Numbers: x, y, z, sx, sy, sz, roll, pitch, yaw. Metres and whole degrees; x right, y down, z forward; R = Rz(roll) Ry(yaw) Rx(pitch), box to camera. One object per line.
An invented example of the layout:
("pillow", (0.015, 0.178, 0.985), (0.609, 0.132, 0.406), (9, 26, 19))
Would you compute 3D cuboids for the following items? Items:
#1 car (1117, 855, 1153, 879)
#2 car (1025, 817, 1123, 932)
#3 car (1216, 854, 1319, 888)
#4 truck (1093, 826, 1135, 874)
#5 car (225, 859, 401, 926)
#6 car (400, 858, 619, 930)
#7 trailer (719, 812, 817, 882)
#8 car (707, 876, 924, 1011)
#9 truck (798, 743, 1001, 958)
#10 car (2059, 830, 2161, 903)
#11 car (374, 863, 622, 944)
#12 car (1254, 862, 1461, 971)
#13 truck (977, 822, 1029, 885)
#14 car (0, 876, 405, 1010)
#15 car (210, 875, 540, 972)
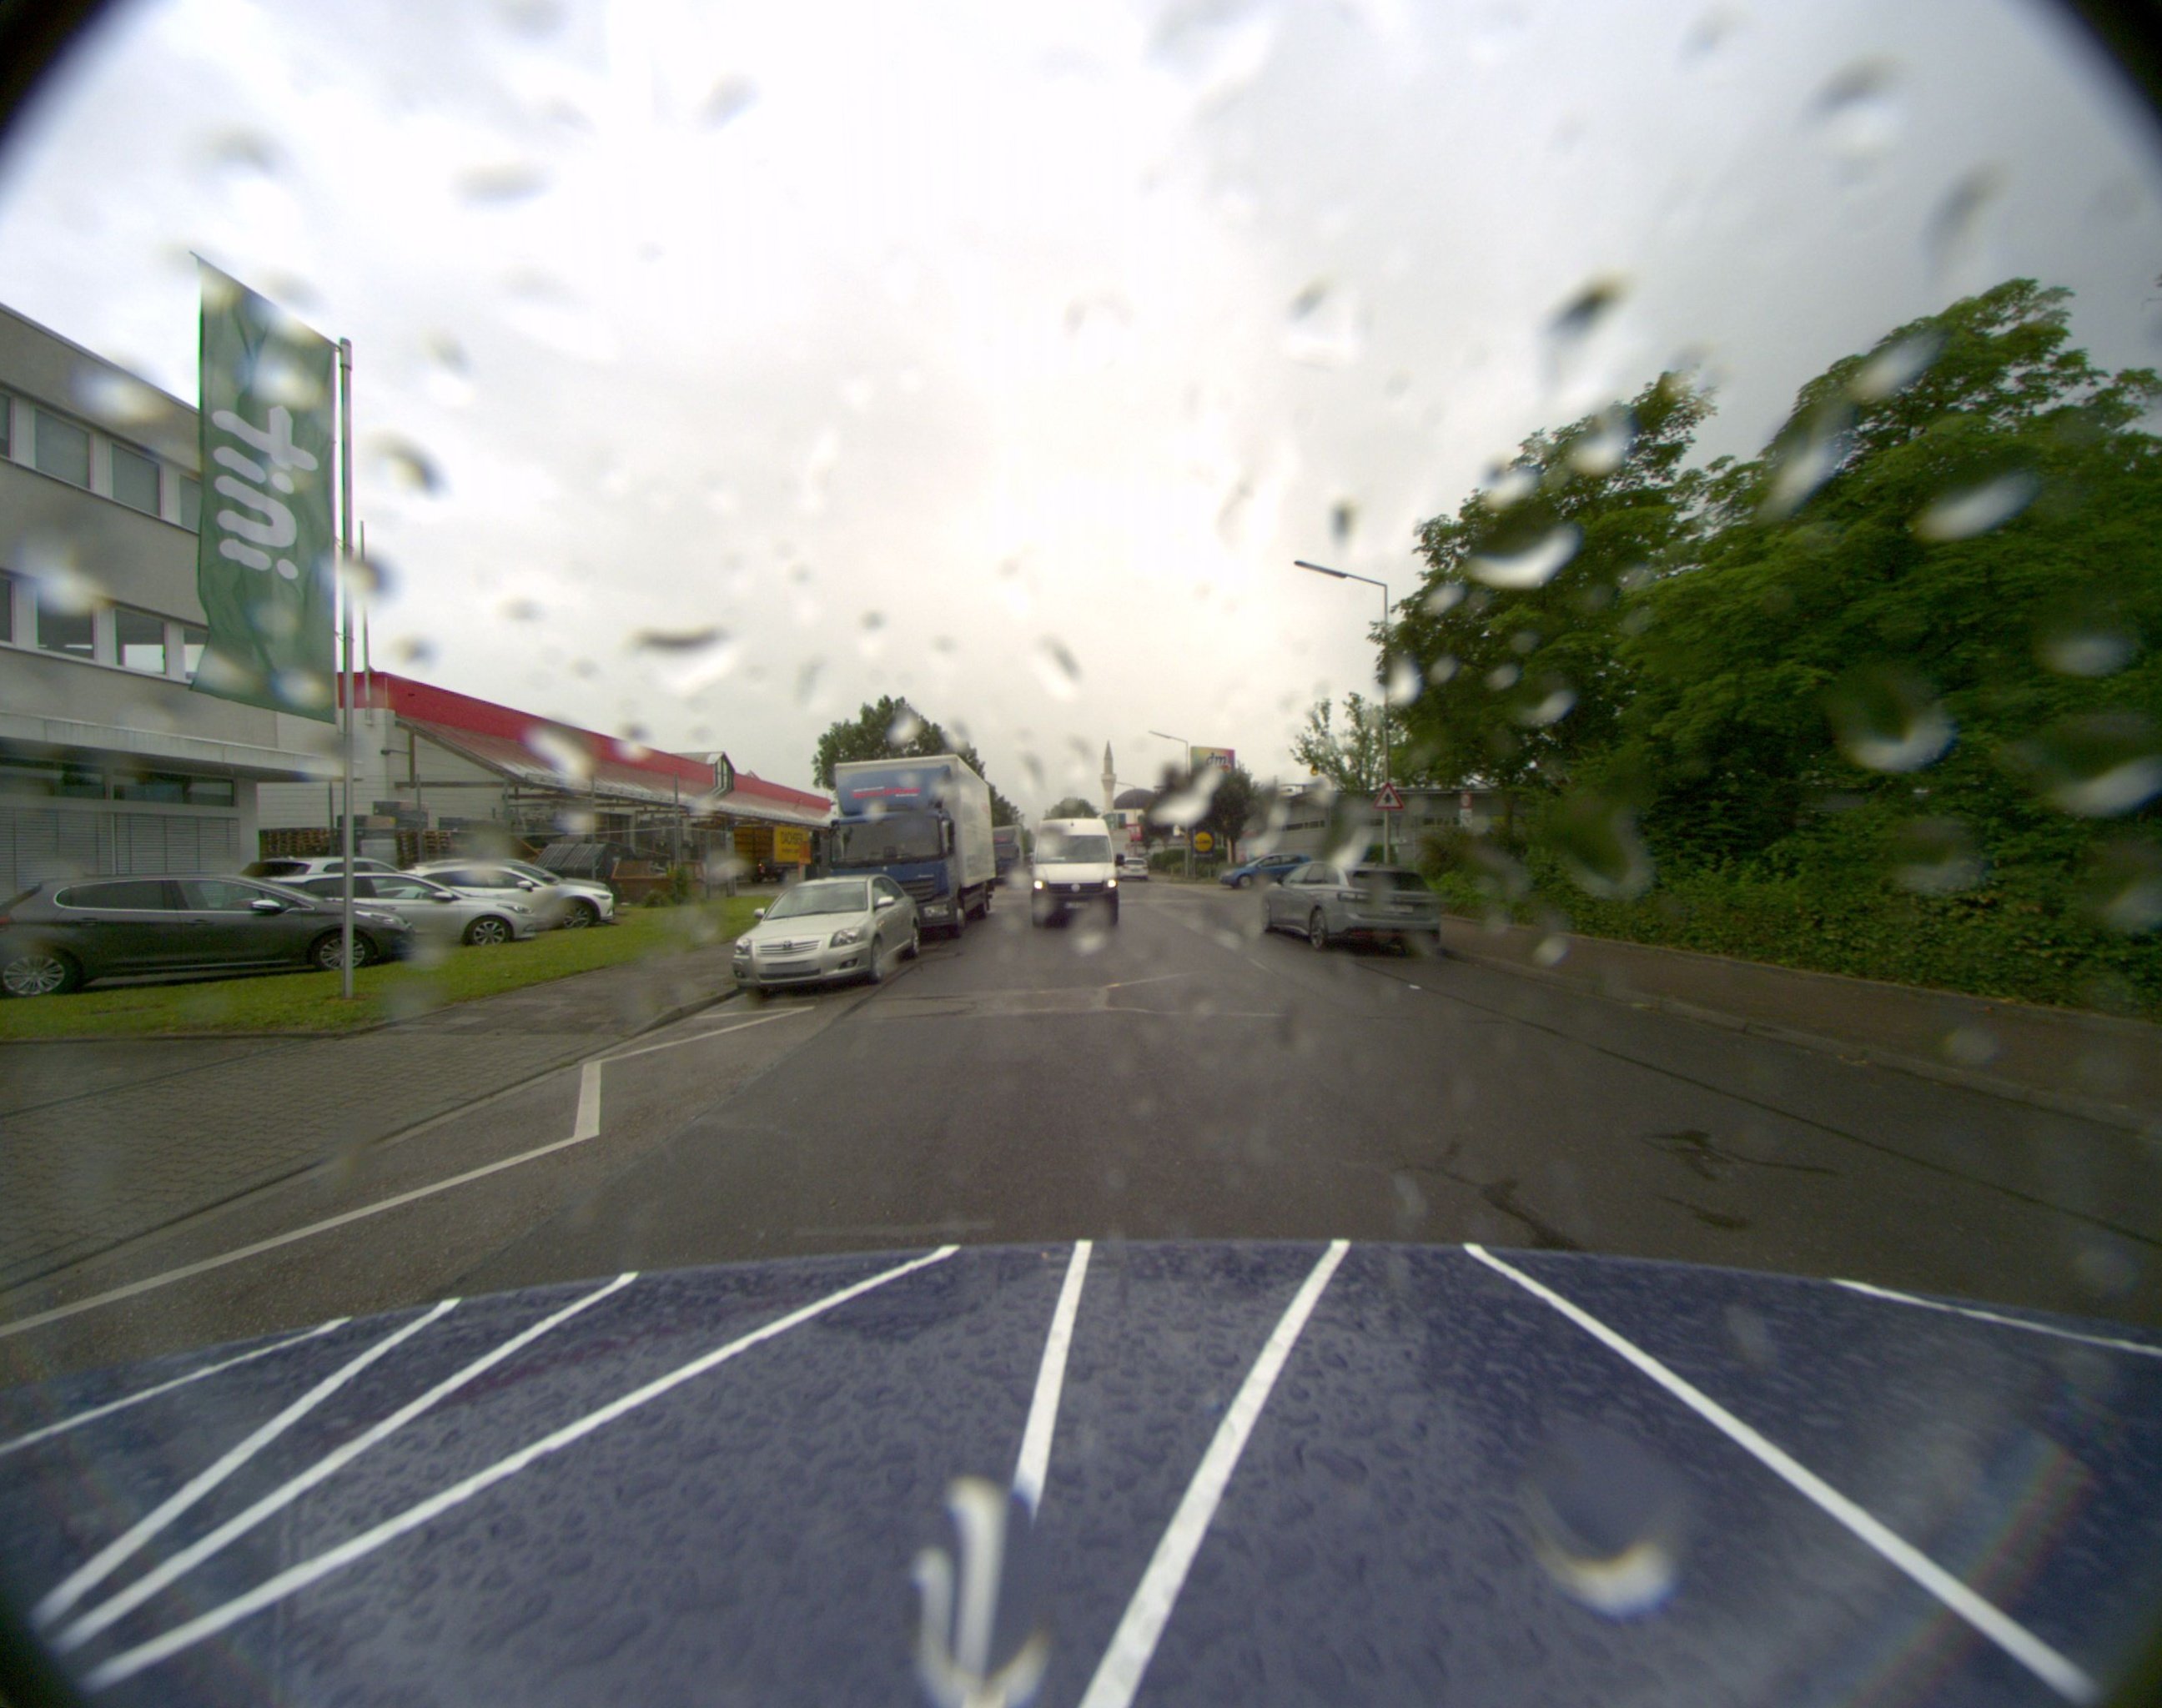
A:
("car", (3.387, 0.797, 48.666), (1.841, 1.426, 4.490), (0, 0, -2))
("car", (-0.096, 0.437, 19.200), (2.085, 2.466, 5.347), (-1, 0, 1))
("car", (8.005, 0.718, 32.859), (3.998, 1.432, 1.736), (0, 0, -3))
("truck", (2.636, -0.307, 63.143), (2.889, 3.724, 7.865), (-1, 0, -2))
("car", (-17.980, 0.838, 17.957), (1.402, 1.417, 2.746), (-1, 0, -2))
("car", (-13.960, 0.889, 18.714), (1.868, 1.518, 4.008), (-1, 0, 43))
("trailer", (-20.575, -0.425, 50.759), (2.975, 4.218, 9.468), (-1, 0, -3))
("car", (-3.572, 1.113, 11.144), (1.802, 1.433, 4.343), (-1, 0, -3))
("truck", (-3.798, -0.076, 18.501), (2.748, 3.767, 9.296), (-4, 0, -2))
("car", (27.423, 0.298, 18.473), (2.000, 1.783, 3.997), (-1, 0, -8))
("car", (-12.513, 0.963, 16.480), (1.770, 1.461, 4.008), (-1, 0, 43))
("car", (4.775, 0.979, 14.013), (1.814, 1.519, 4.746), (3, 0, -3))
("truck", (-5.043, -0.046, 50.352), (2.679, 3.670, 8.007), (-4, 0, -2))
("car", (-11.747, 1.061, 10.265), (1.702, 1.385, 3.776), (-1, 0, 45))
("car", (-12.049, 1.082, 13.226), (1.702, 1.279, 4.008), (-1, 0, 43))
